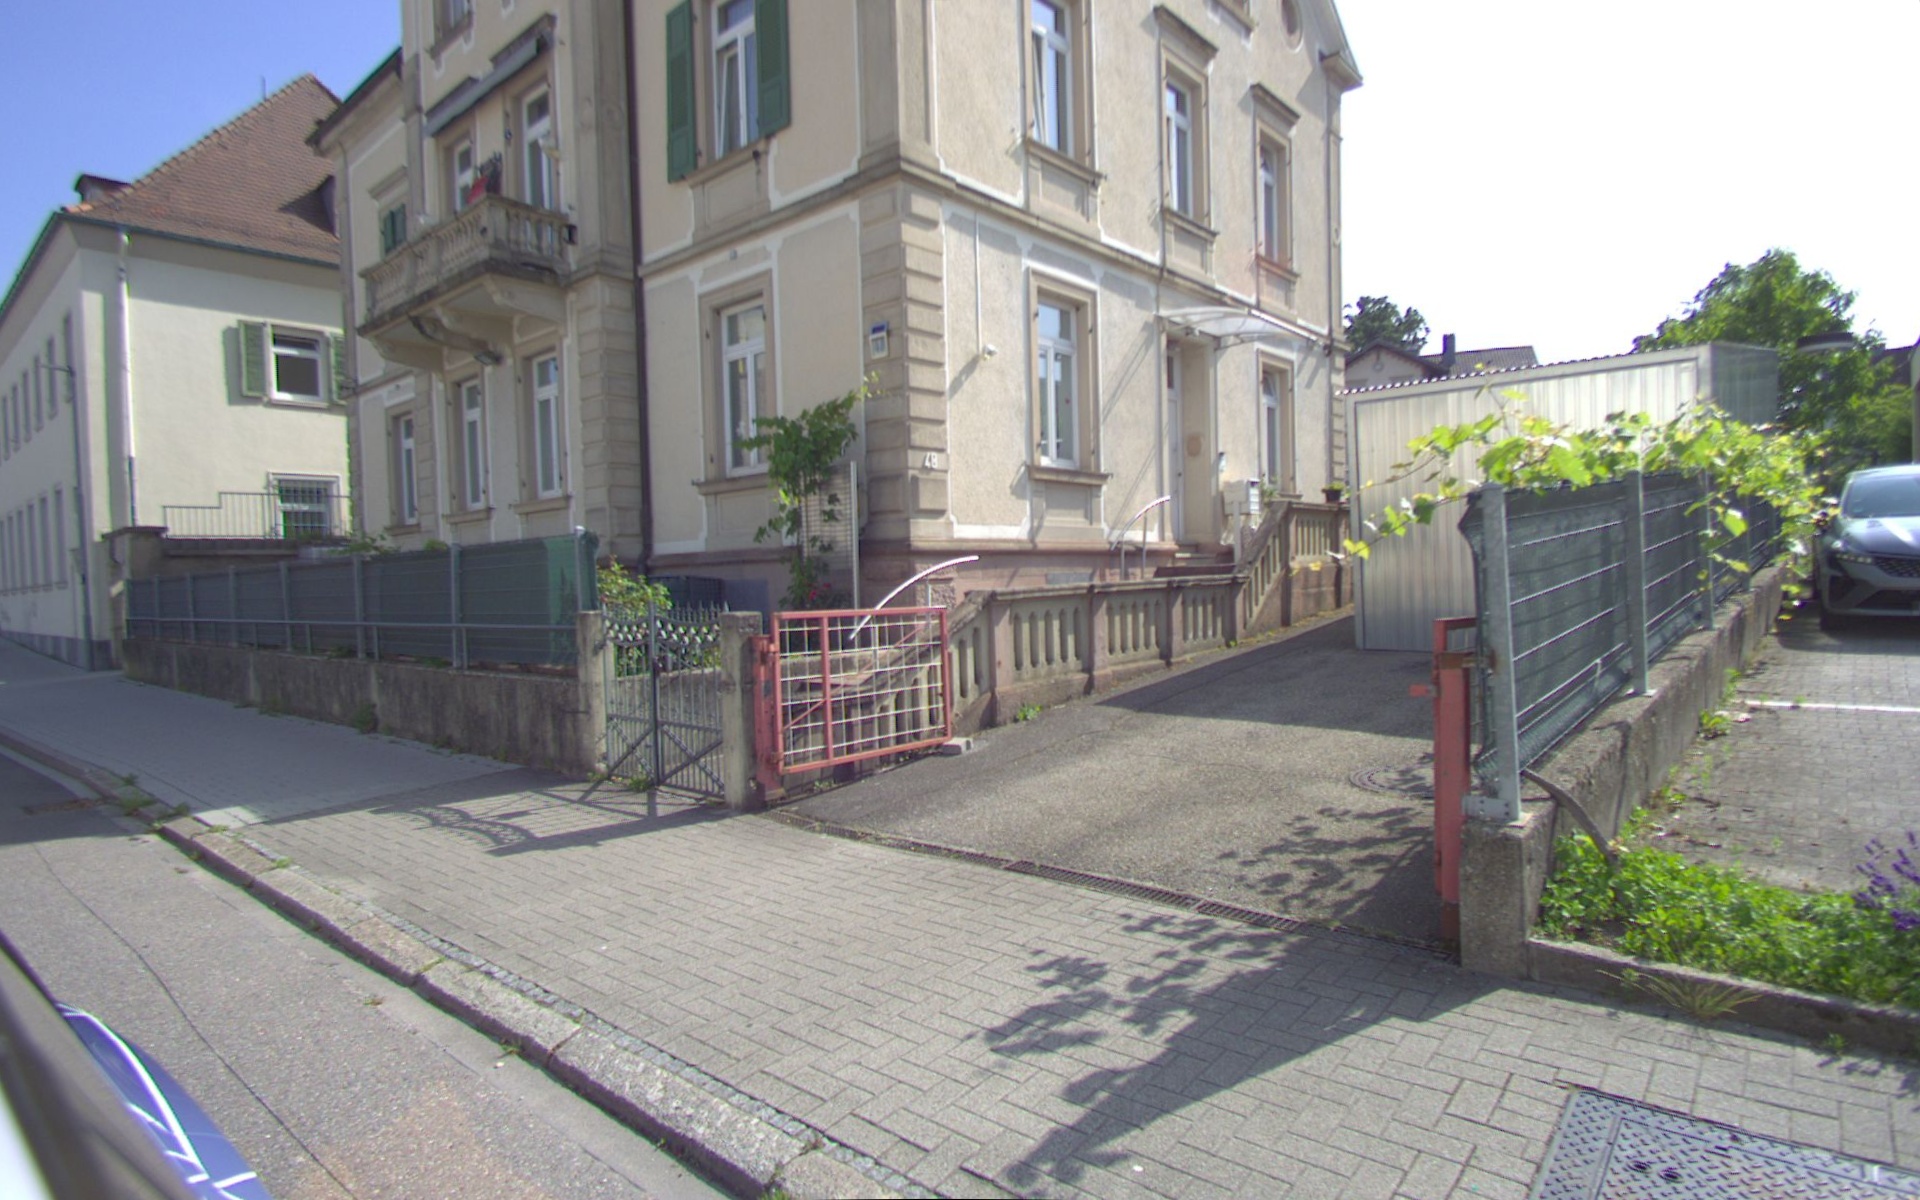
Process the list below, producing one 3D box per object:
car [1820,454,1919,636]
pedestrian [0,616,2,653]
[{"bbox_3d":[9.340,-0.648,9.567,1.704,1.426,3.796,-1,6,39],"label":"car"},{"bbox_3d":[-26.985,0.647,27.726,0.757,1.643,0.948,0,3,41],"label":"pedestrian"}]
